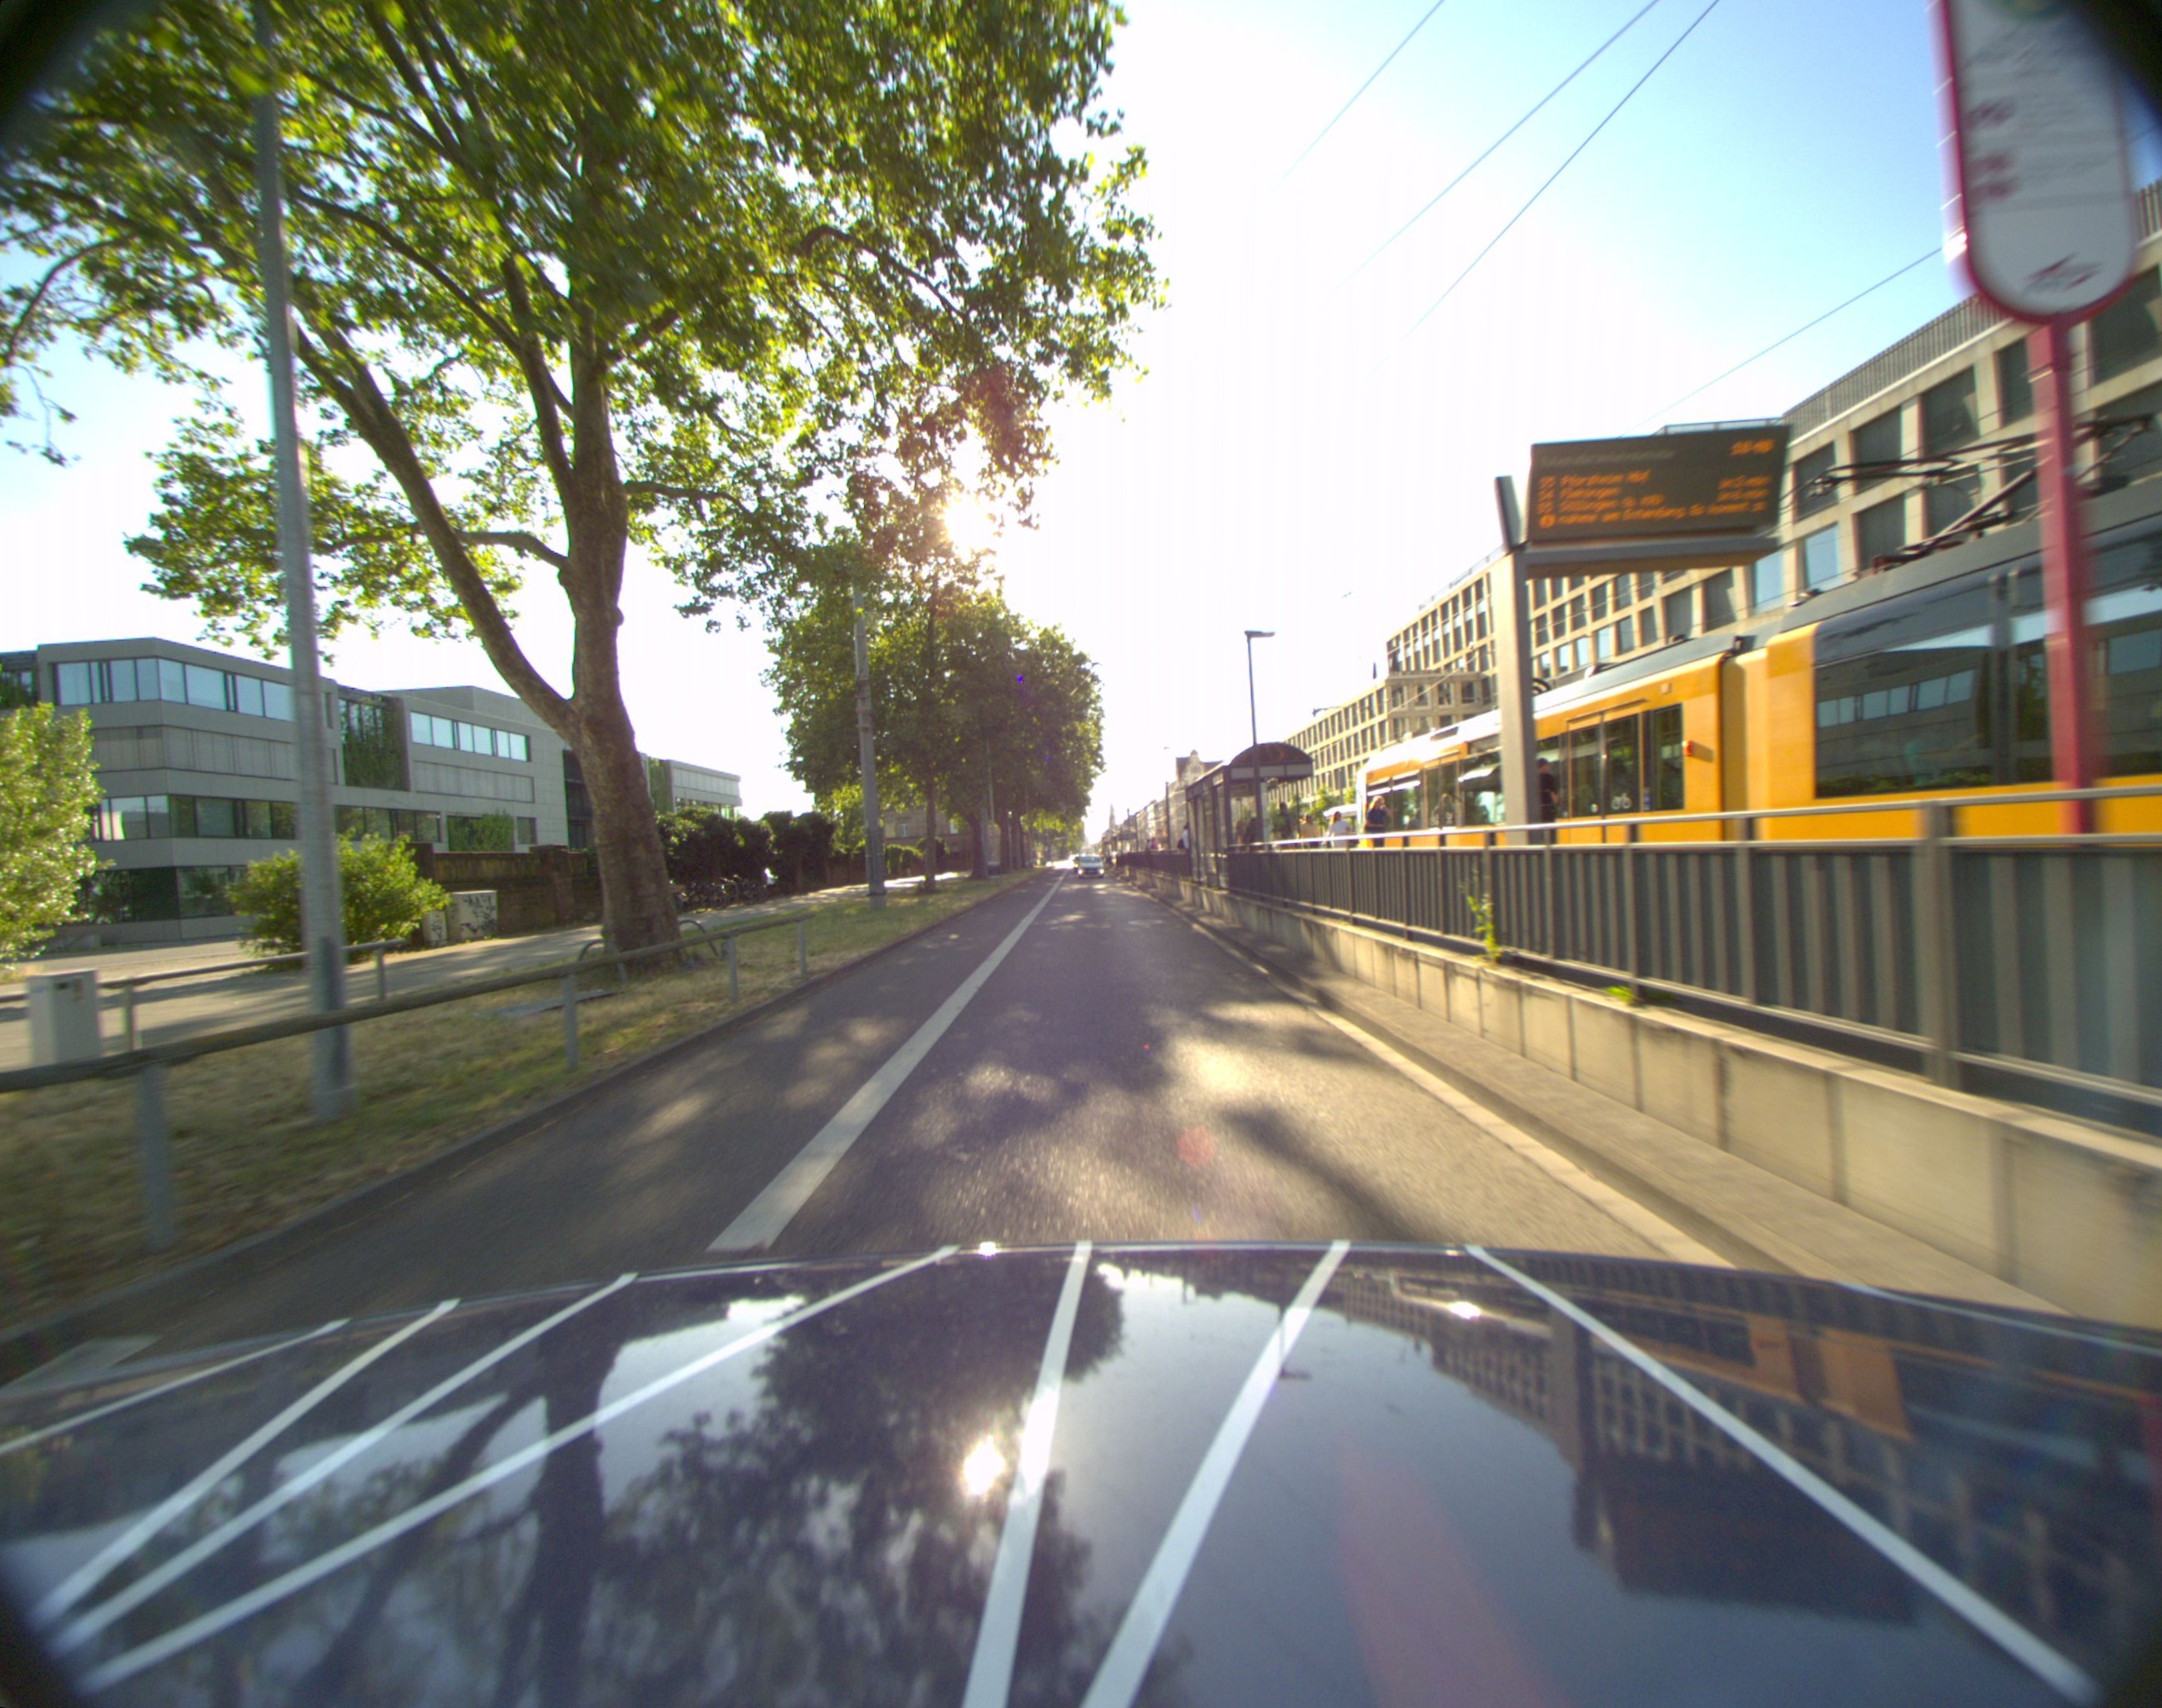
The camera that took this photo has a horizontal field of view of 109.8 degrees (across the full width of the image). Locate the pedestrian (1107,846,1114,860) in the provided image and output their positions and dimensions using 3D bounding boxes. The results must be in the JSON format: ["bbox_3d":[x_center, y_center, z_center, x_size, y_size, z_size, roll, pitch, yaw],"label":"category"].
[{"bbox_3d":[3.357,-0.116,86.867,0.747,1.500,0.666,-3,1,3],"label":"pedestrian"}]

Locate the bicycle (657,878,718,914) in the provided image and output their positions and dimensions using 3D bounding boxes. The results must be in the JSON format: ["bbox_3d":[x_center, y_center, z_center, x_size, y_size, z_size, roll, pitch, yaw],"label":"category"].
[{"bbox_3d":[-13.357,1.428,25.817,1.778,1.114,0.439,-2,1,-1],"label":"bicycle"}]

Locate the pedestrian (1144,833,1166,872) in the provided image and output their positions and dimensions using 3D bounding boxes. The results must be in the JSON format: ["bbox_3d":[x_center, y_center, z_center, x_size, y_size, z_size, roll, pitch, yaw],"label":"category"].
[{"bbox_3d":[3.192,-0.066,32.764,0.614,1.633,0.612,-4,1,-19],"label":"pedestrian"}]

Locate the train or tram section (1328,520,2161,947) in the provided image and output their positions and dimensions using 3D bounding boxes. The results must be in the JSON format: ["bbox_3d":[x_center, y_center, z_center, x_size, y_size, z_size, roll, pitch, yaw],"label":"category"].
[{"bbox_3d":[8.725,-1.181,14.270,3.317,3.807,14.217,-4,0,0],"label":"train or tram section"}]

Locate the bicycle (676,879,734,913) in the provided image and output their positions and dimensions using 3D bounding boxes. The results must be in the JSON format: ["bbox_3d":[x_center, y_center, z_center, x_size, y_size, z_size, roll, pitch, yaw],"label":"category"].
[{"bbox_3d":[-13.342,1.484,26.950,1.778,1.114,0.439,-2,1,-1],"label":"bicycle"}]

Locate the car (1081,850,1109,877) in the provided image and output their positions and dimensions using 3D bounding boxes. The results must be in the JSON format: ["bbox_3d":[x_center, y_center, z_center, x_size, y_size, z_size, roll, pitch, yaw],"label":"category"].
[{"bbox_3d":[0.862,0.601,49.968,1.649,1.555,3.665,-4,1,0],"label":"car"}]

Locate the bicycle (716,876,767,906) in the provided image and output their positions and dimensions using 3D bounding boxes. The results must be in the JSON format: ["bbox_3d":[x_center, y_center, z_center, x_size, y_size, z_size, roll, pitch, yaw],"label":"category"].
[{"bbox_3d":[-13.412,1.465,30.033,1.778,1.114,0.439,-2,1,-1],"label":"bicycle"}]

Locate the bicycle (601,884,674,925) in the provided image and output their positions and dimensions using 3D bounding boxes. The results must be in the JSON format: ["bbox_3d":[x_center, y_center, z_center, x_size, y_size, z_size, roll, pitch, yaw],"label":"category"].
[{"bbox_3d":[-13.162,1.493,22.568,1.778,1.114,0.439,-2,1,-7],"label":"bicycle"}]

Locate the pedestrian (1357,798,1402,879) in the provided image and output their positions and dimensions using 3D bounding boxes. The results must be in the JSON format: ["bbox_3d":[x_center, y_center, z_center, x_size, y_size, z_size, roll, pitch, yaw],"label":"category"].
[{"bbox_3d":[6.790,-0.340,17.325,0.613,1.774,0.775,-4,1,0],"label":"pedestrian"}]

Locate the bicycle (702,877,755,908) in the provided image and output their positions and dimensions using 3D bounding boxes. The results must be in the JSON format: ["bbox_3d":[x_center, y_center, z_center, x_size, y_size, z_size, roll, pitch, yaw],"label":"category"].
[{"bbox_3d":[-13.497,1.465,29.084,1.778,1.114,0.439,-2,1,-1],"label":"bicycle"}]

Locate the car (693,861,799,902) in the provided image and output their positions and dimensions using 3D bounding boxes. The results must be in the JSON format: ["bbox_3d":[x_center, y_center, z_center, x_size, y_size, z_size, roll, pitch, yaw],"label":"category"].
[{"bbox_3d":[-19.966,1.624,45.444,5.276,1.970,2.000,-4,1,0],"label":"car"}]

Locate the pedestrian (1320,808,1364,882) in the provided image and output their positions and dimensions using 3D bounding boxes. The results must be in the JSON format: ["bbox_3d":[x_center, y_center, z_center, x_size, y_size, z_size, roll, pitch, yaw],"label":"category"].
[{"bbox_3d":[6.567,-0.218,19.135,0.795,1.774,0.625,-4,1,0],"label":"pedestrian"}]

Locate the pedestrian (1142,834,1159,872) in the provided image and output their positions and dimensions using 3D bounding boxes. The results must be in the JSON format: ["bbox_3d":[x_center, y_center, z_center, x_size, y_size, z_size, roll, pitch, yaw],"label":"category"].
[{"bbox_3d":[3.076,-0.041,33.691,0.613,1.659,0.613,-4,1,2],"label":"pedestrian"}]

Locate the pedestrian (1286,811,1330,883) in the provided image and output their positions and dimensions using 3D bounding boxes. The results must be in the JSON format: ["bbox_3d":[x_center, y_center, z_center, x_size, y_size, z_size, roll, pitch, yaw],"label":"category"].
[{"bbox_3d":[5.756,-0.171,19.280,0.796,1.774,0.647,-5,1,-40],"label":"pedestrian"}]

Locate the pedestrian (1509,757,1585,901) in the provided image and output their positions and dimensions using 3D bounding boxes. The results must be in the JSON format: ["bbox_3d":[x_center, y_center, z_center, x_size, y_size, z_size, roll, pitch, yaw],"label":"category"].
[{"bbox_3d":[6.415,-0.339,10.488,0.554,1.894,0.644,-4,1,0],"label":"pedestrian"}]

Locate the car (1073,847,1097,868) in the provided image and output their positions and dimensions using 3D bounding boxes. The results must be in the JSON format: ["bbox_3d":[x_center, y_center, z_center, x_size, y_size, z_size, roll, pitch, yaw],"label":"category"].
[{"bbox_3d":[0.367,0.262,62.569,1.648,1.555,3.666,-5,1,4],"label":"car"}]

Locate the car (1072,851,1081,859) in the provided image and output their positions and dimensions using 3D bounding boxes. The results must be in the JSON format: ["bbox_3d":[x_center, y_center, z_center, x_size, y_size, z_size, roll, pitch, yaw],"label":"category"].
[{"bbox_3d":[-0.957,0.223,160.653,1.833,1.645,3.999,-4,1,0],"label":"car"}]

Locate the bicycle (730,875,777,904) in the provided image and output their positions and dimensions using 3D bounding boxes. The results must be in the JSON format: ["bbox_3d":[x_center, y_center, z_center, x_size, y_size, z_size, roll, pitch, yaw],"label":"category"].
[{"bbox_3d":[-13.407,1.457,31.100,1.692,1.114,0.439,-2,1,-1],"label":"bicycle"}]

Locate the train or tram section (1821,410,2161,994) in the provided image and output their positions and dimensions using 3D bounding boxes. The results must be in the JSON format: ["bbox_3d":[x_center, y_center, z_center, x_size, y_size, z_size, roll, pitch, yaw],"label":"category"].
[{"bbox_3d":[8.748,-1.047,1.266,3.317,3.807,11.842,-4,0,0],"label":"train or tram section"}]

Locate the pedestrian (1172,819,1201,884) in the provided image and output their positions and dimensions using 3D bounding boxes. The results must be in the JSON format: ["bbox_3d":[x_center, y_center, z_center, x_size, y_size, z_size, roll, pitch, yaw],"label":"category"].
[{"bbox_3d":[2.953,-0.068,21.249,0.613,1.774,0.613,-4,1,0],"label":"pedestrian"}]

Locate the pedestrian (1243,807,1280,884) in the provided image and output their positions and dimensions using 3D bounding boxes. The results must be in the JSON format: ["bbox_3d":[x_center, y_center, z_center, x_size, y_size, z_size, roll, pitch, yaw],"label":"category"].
[{"bbox_3d":[4.287,-0.200,18.043,0.611,1.774,0.681,-4,1,0],"label":"pedestrian"}]

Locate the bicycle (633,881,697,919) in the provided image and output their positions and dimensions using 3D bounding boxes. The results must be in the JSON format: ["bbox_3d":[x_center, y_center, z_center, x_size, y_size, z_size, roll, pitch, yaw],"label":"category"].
[{"bbox_3d":[-13.585,1.495,24.819,1.778,1.114,0.439,-2,1,-1],"label":"bicycle"}]
